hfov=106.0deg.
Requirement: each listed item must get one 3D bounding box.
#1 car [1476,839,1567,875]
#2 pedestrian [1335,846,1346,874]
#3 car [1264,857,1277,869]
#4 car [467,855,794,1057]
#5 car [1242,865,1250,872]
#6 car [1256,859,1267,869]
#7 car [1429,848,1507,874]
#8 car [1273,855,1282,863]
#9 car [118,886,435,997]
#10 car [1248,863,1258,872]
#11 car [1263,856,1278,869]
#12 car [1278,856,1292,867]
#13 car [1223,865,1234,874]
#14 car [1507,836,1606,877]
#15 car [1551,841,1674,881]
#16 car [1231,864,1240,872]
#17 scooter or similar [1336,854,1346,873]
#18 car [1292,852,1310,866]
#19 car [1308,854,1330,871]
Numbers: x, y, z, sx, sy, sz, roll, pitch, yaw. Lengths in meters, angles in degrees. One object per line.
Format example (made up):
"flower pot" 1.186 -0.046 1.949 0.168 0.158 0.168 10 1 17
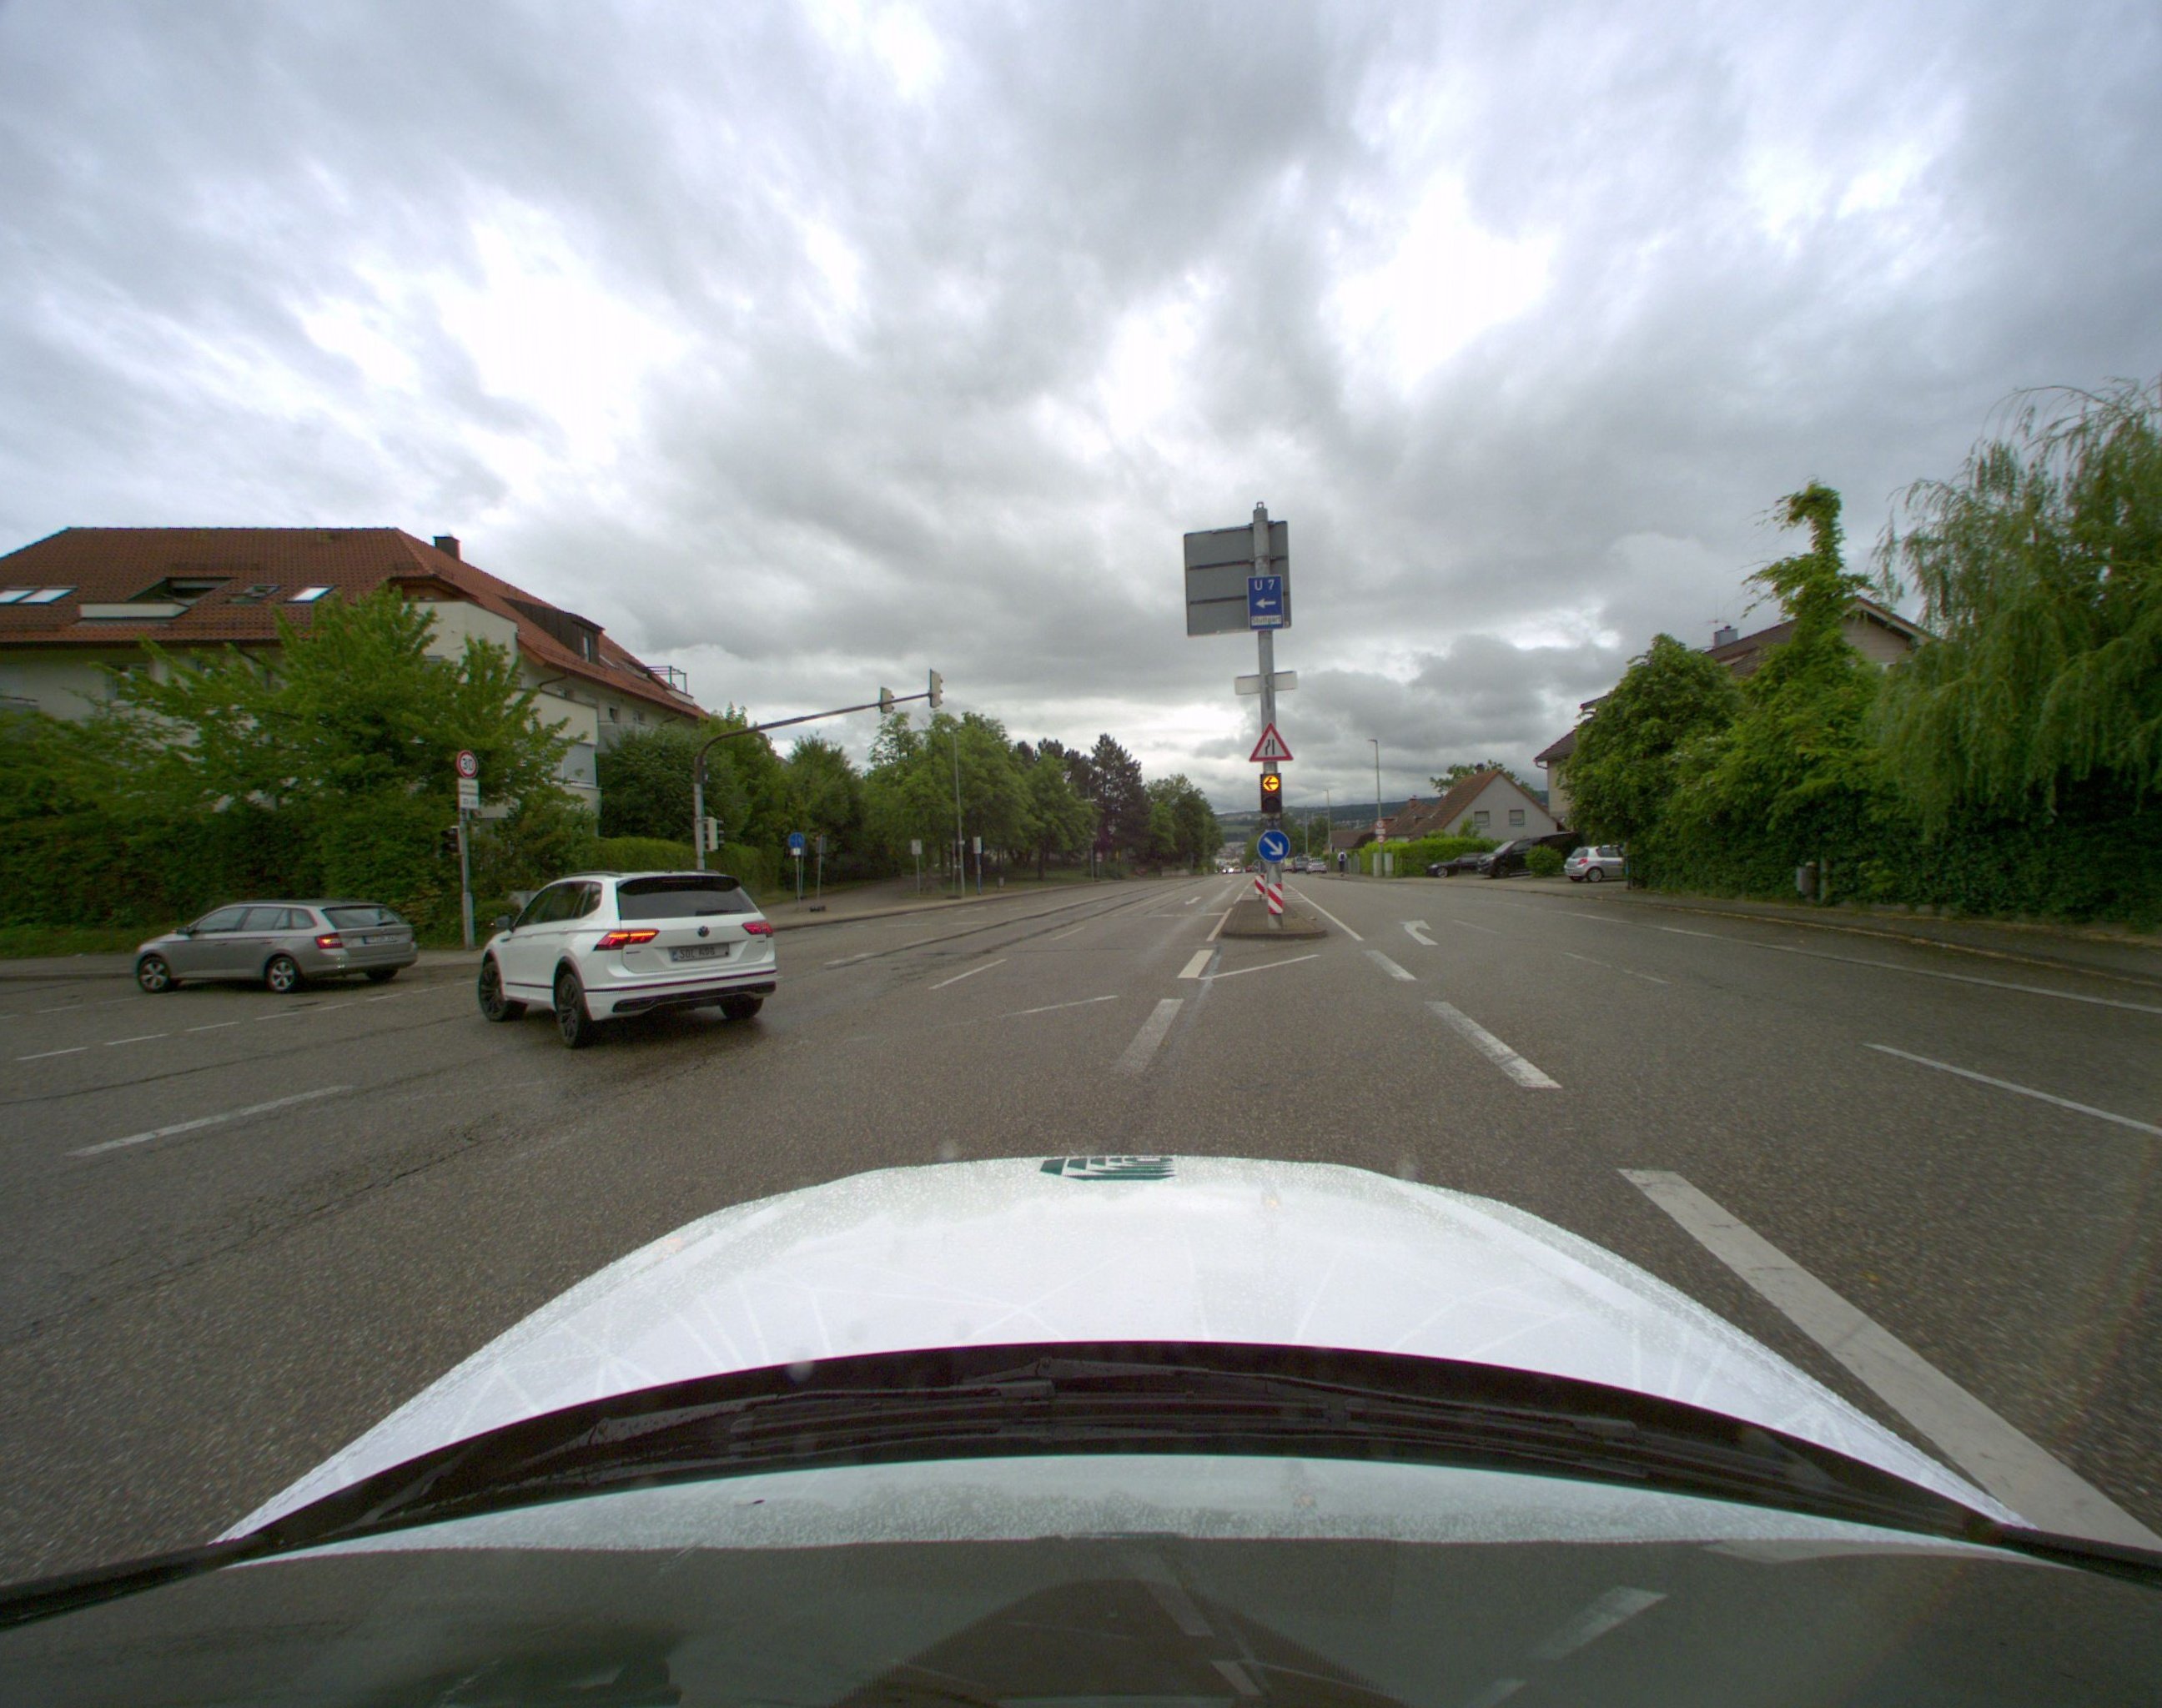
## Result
"car" 21.929 0.154 40.671 3.605 1.626 1.796 -2 0 9
"pedestrian" 19.002 0.460 59.663 0.651 2.002 0.720 -2 -1 10
"car" 27.829 1.356 119.567 1.726 1.574 4.015 -3 0 14
"car" -5.180 0.984 9.104 4.217 1.696 1.780 -4 -1 41
"car" 44.464 3.824 218.998 1.980 1.651 4.013 -2 0 11
"car" 33.213 1.820 149.577 1.784 1.783 4.015 -2 0 13
"car" 21.668 0.404 45.722 3.663 1.370 1.524 -1 -2 12
"car" 42.885 1.067 177.606 1.837 1.574 4.015 -3 0 14
"car" -13.568 1.448 13.850 3.890 1.589 1.809 -2 0 9
"car" 36.060 2.810 170.339 1.873 1.794 4.015 -2 0 14
"car" 24.675 1.103 105.919 1.742 1.574 4.015 -3 0 14
"car" 30.475 1.137 121.586 1.837 1.574 4.015 -3 0 14
"car" 29.899 3.172 165.002 1.831 1.717 4.016 -2 0 14
"car" 22.117 0.129 37.994 3.605 1.746 1.712 -2 0 9
"car" 21.213 0.294 32.637 3.695 1.395 1.732 -2 -2 6
"car" 38.212 3.382 201.025 1.874 1.794 4.014 -2 0 13
"scooter or similar" 19.033 0.674 59.573 0.458 1.361 1.388 -2 0 10
"car" 26.232 0.589 97.188 1.837 1.574 4.016 -1 1 14
"car" 22.930 0.791 78.668 1.837 1.574 4.015 -1 0 14
